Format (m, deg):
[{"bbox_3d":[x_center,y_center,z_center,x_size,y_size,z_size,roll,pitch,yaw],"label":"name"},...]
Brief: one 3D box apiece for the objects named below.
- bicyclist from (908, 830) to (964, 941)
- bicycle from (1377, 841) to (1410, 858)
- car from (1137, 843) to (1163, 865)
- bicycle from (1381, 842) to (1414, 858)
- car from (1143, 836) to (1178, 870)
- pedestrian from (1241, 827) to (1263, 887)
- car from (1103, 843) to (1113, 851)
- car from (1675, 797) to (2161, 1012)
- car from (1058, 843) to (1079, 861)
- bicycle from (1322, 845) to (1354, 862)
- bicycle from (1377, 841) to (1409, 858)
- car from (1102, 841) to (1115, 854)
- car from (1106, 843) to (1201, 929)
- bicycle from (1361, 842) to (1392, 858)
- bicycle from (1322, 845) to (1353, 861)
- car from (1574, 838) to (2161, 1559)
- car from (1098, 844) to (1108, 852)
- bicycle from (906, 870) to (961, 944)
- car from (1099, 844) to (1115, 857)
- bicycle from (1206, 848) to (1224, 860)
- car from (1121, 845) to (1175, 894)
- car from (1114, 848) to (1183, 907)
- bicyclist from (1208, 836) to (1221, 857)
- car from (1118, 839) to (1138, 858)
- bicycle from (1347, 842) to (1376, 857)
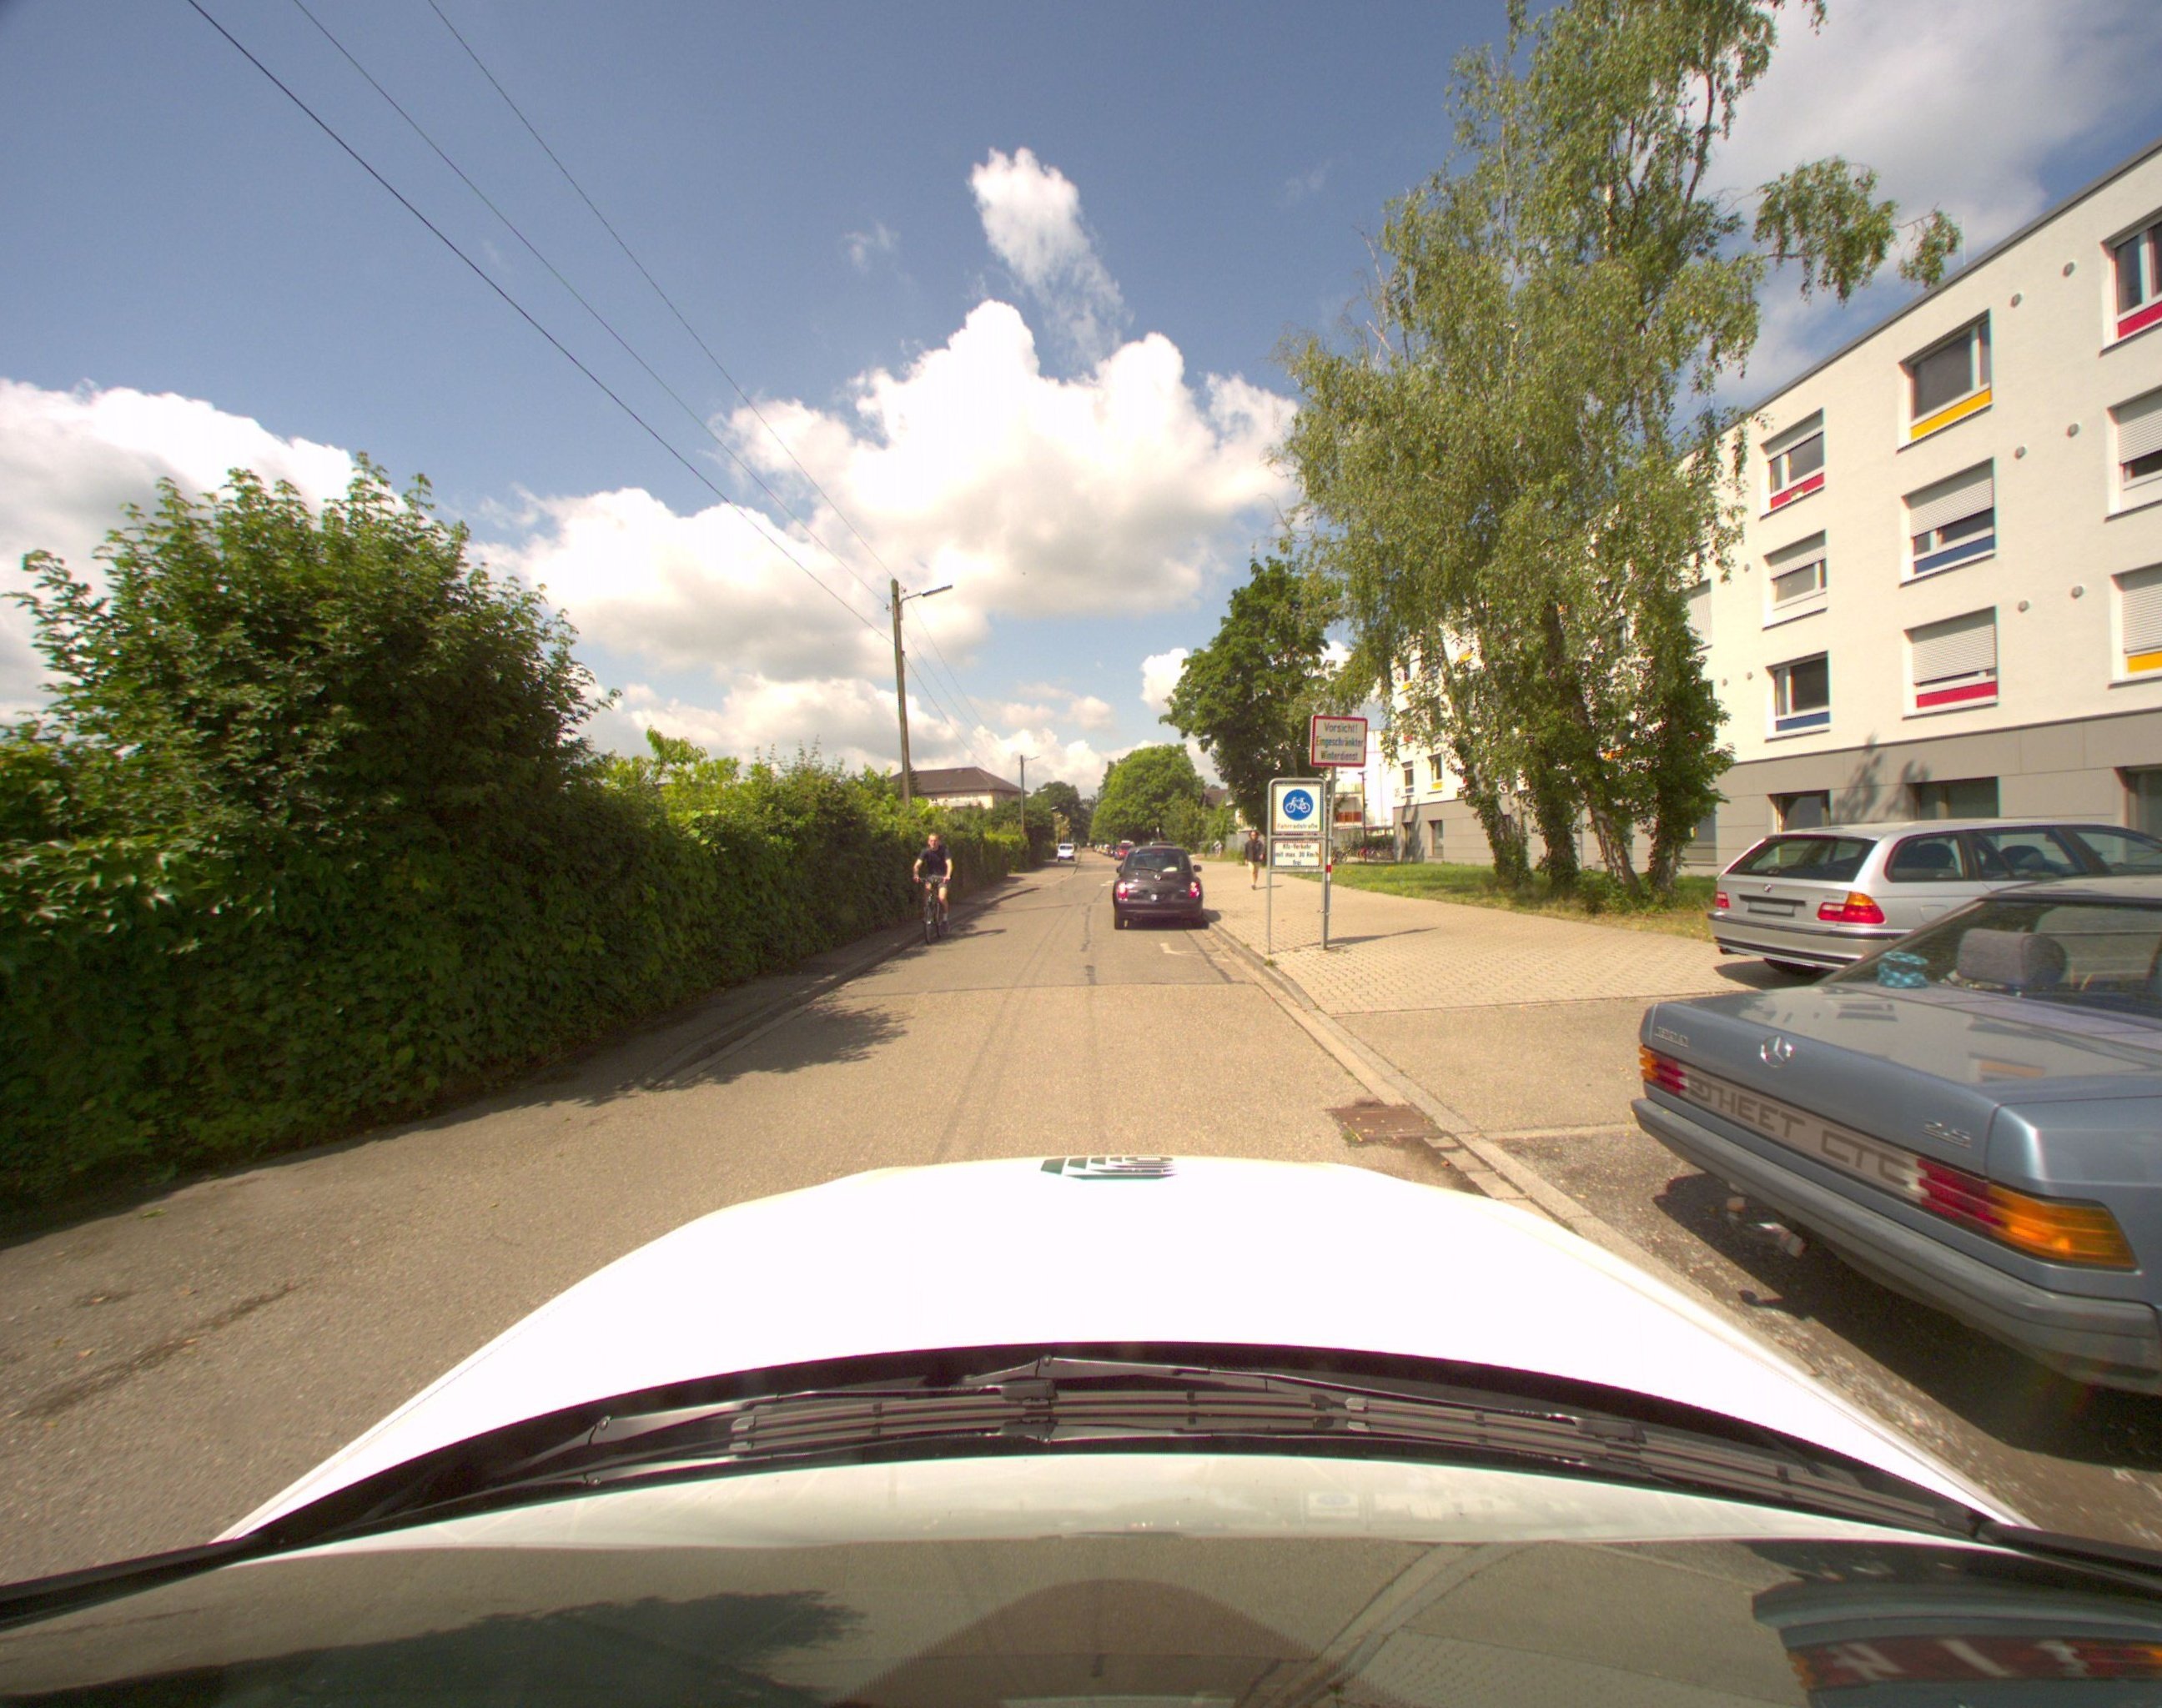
[{"bbox_3d":[-2.541,0.532,14.394,0.656,1.852,1.043,-3,0,2],"label":"bicyclist"},{"bbox_3d":[22.688,-0.327,59.125,2.038,1.079,0.689,-3,0,3],"label":"bicycle"},{"bbox_3d":[4.942,-0.012,58.838,1.672,1.519,4.003,0,0,3],"label":"car"},{"bbox_3d":[22.644,-0.289,58.290,2.038,1.079,0.689,-3,0,3],"label":"bicycle"},{"bbox_3d":[4.445,-0.056,45.582,1.865,1.806,3.437,0,0,5],"label":"car"},{"bbox_3d":[5.067,0.074,24.063,0.606,1.745,0.724,0,0,13],"label":"pedestrian"},{"bbox_3d":[5.415,-1.396,163.824,1.843,1.618,4.005,-2,0,5],"label":"car"},{"bbox_3d":[7.849,0.322,6.971,4.228,1.430,1.758,-4,0,-1],"label":"car"},{"bbox_3d":[-1.311,-0.226,84.577,1.895,1.814,4.003,0,0,3],"label":"car"},{"bbox_3d":[18.402,-0.063,58.366,2.079,1.119,0.626,-3,0,4],"label":"bicycle"},{"bbox_3d":[22.952,-0.336,59.897,2.038,1.079,0.689,-3,0,3],"label":"bicycle"},{"bbox_3d":[4.548,-1.068,134.387,2.050,1.961,4.544,0,0,3],"label":"car"},{"bbox_3d":[1.445,0.550,16.292,1.655,1.506,4.006,0,0,5],"label":"car"},{"bbox_3d":[22.542,-0.320,62.192,2.038,1.079,0.689,-3,0,3],"label":"bicycle"},{"bbox_3d":[18.887,-0.072,60.044,2.038,1.079,0.689,-3,0,3],"label":"bicycle"},{"bbox_3d":[4.168,0.640,2.386,4.339,1.392,1.720,-2,0,4],"label":"car"},{"bbox_3d":[4.847,-1.312,178.705,1.843,1.618,4.005,0,0,5],"label":"car"},{"bbox_3d":[-2.578,0.898,14.404,0.516,1.150,1.828,-3,0,3],"label":"bicycle"},{"bbox_3d":[3.442,-0.470,109.081,2.050,1.652,4.544,0,0,3],"label":"car"},{"bbox_3d":[11.413,0.022,69.574,0.850,1.026,1.832,0,0,33],"label":"bicycle"},{"bbox_3d":[2.359,0.489,27.934,1.654,1.552,3.645,0,0,7],"label":"car"},{"bbox_3d":[1.829,0.556,21.988,1.655,1.440,4.212,0,0,5],"label":"car"},{"bbox_3d":[11.420,-0.668,69.536,0.777,1.785,0.900,0,0,32],"label":"bicyclist"},{"bbox_3d":[4.838,-0.592,84.543,2.050,1.926,4.544,0,0,3],"label":"car"},{"bbox_3d":[22.217,-0.331,64.564,2.038,1.079,0.689,-3,0,3],"label":"bicycle"}]
